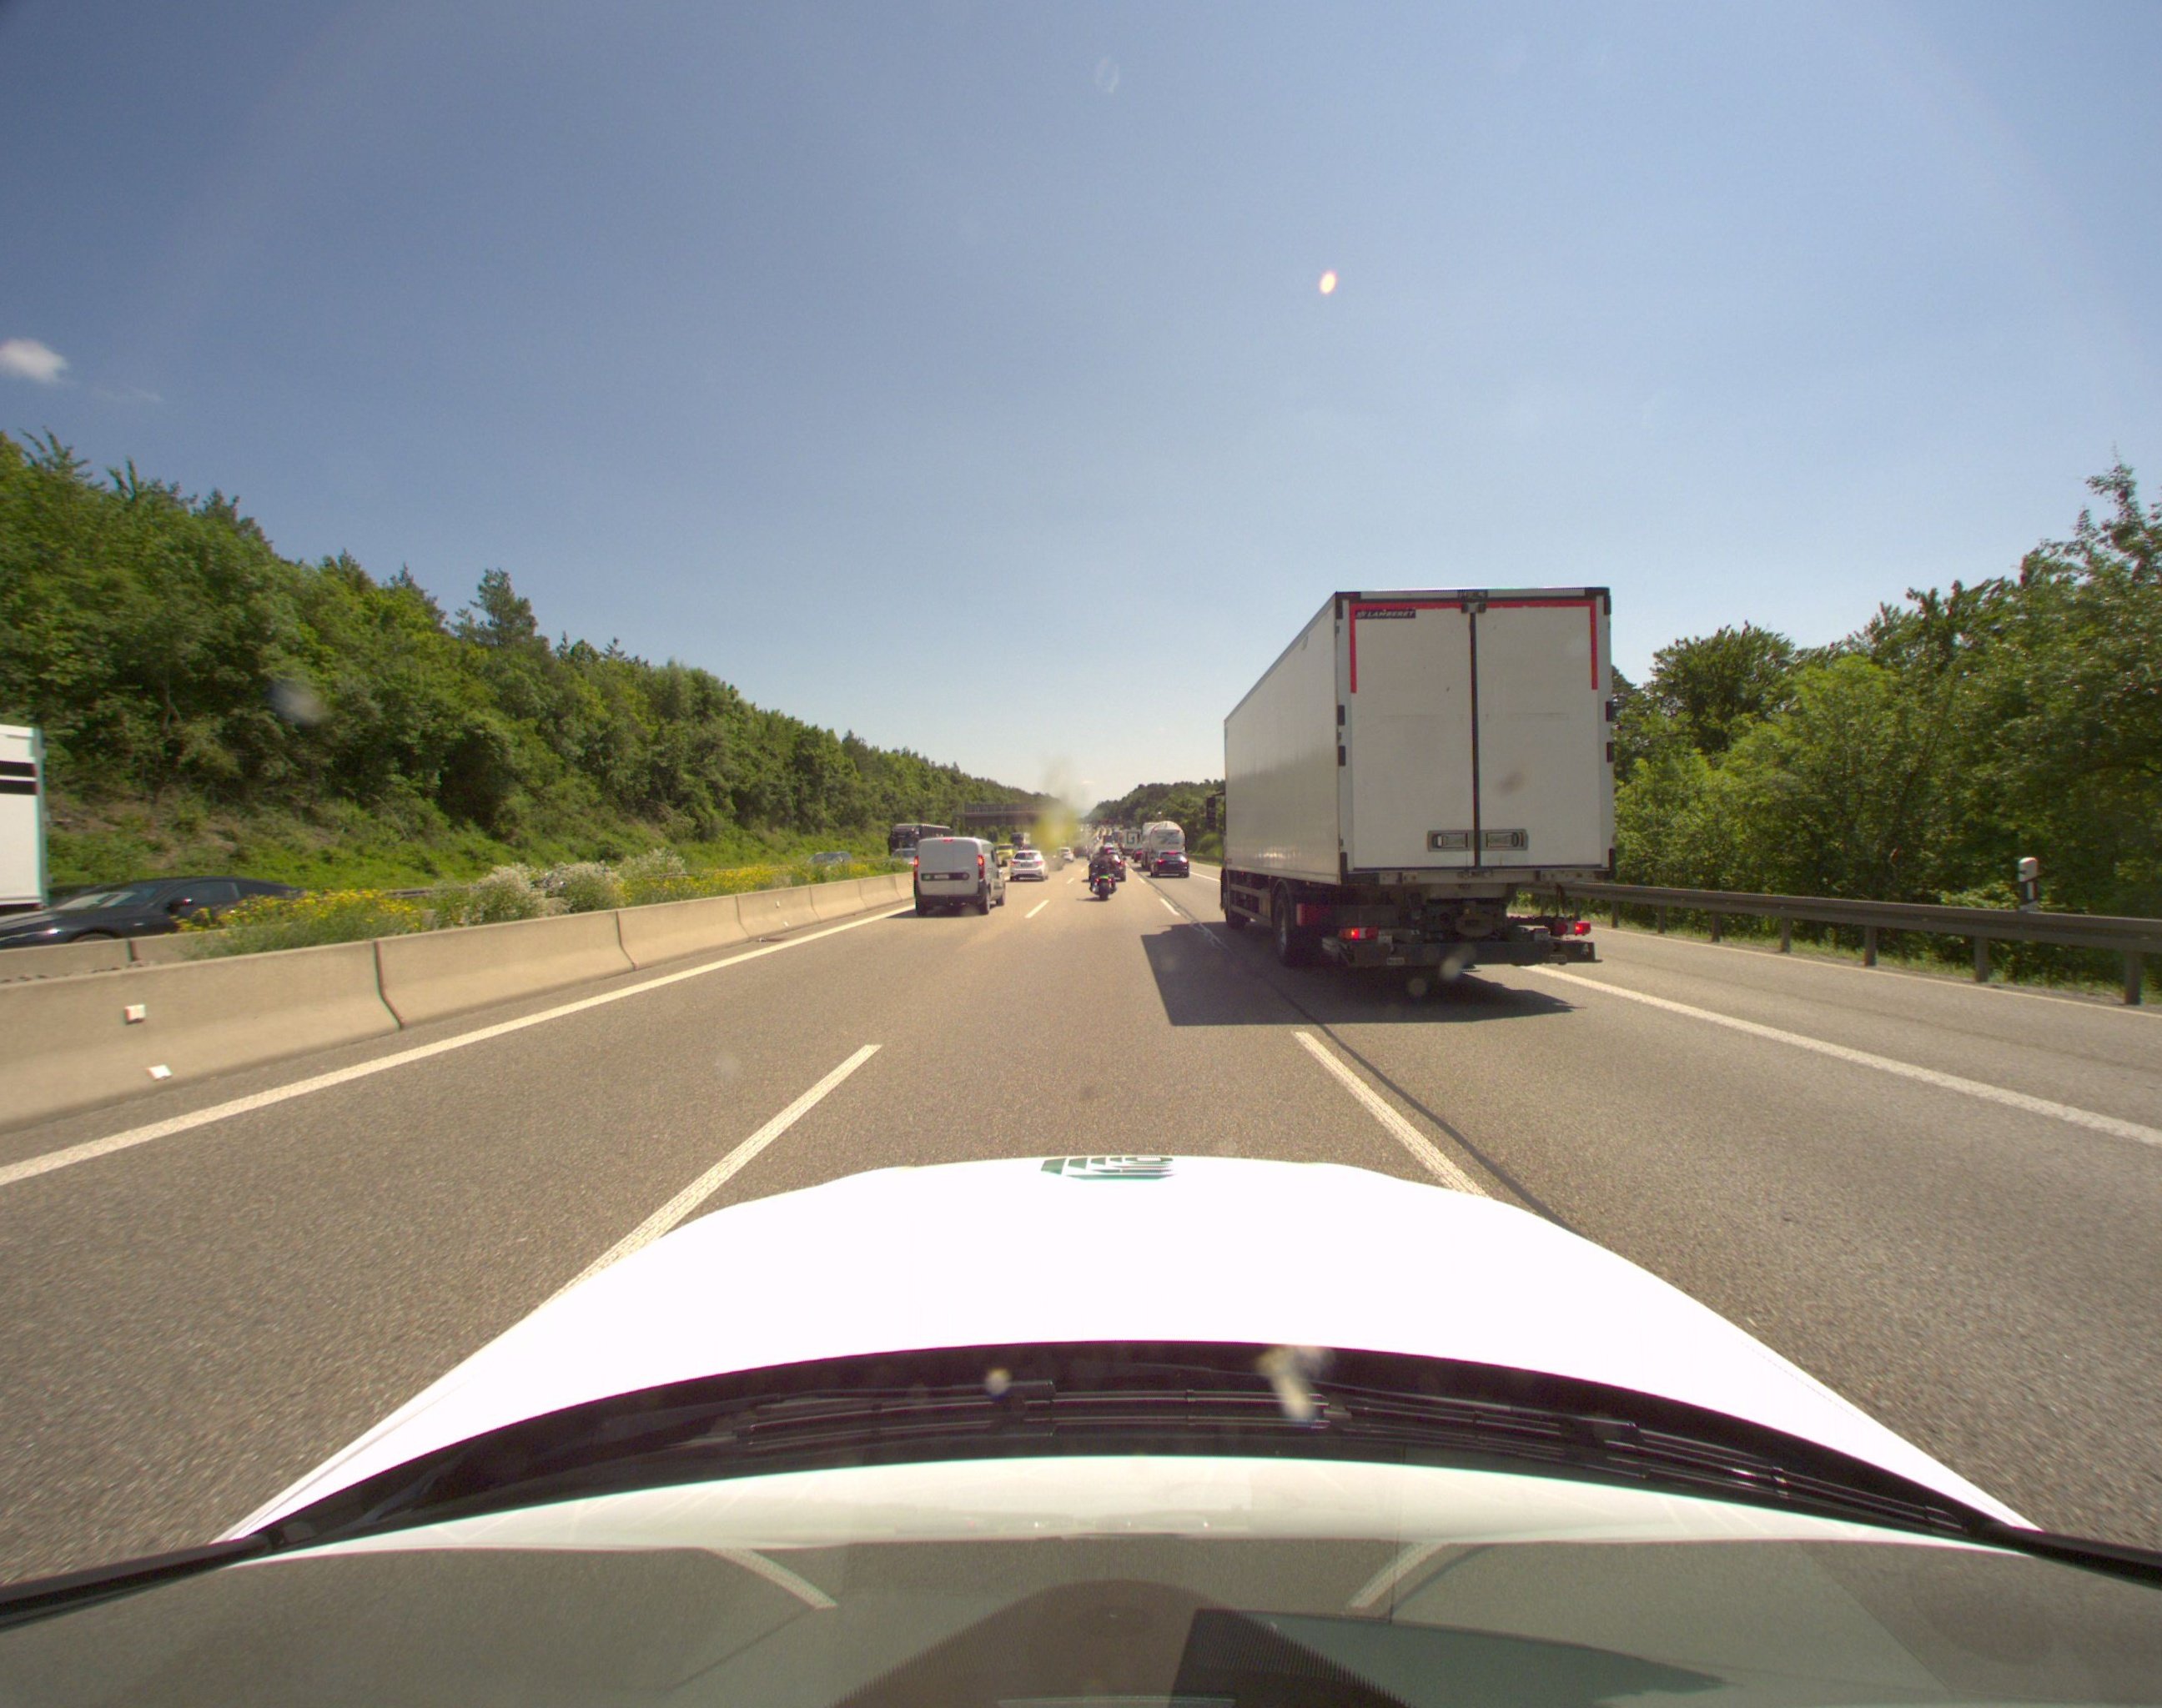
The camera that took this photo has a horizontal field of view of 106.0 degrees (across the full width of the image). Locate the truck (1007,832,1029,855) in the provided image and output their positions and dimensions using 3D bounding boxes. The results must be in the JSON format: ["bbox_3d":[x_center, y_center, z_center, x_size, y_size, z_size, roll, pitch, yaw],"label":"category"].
[{"bbox_3d":[-12.999,-2.147,169.121,3.711,4.528,7.328,-3,-1,1],"label":"truck"}]

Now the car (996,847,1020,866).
[{"bbox_3d":[-8.114,0.278,90.782,1.872,2.013,4.471,-4,-1,2],"label":"car"}]

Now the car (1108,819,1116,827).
[{"bbox_3d":[8.757,-8.739,229.141,1.986,2.013,4.002,-3,-1,2],"label":"car"}]

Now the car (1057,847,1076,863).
[{"bbox_3d":[-1.396,0.088,81.636,1.693,1.478,4.002,-1,0,2],"label":"car"}]

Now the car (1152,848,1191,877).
[{"bbox_3d":[4.841,0.425,44.179,1.822,1.470,4.002,0,0,2],"label":"car"}]

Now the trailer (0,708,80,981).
[{"bbox_3d":[-18.703,-0.155,6.882,2.793,4.338,14.040,-2,-1,1],"label":"trailer"}]

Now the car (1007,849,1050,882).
[{"bbox_3d":[-2.530,0.533,40.177,1.693,1.478,4.002,-1,0,2],"label":"car"}]

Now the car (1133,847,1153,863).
[{"bbox_3d":[6.266,0.130,82.720,1.780,1.555,3.805,-1,0,2],"label":"car"}]

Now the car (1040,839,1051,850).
[{"bbox_3d":[-8.215,-2.161,189.959,1.986,2.377,7.368,-1,0,2],"label":"car"}]

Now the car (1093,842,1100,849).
[{"bbox_3d":[4.694,-2.484,239.679,1.986,2.013,4.002,-1,0,2],"label":"car"}]

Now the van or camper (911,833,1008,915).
[{"bbox_3d":[-3.024,0.481,21.104,1.789,1.892,4.160,-1,0,1],"label":"van or camper"}]

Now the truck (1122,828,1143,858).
[{"bbox_3d":[8.006,-1.720,127.422,3.022,4.542,9.987,0,0,2],"label":"truck"}]

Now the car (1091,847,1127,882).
[{"bbox_3d":[1.326,0.493,39.231,1.527,1.510,4.001,-3,0,1],"label":"car"}]

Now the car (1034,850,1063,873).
[{"bbox_3d":[-2.243,0.514,57.154,1.693,1.478,4.002,-1,0,2],"label":"car"}]

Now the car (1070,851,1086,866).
[{"bbox_3d":[-0.412,0.672,117.941,1.986,2.013,4.002,-3,-1,2],"label":"car"}]

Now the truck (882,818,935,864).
[{"bbox_3d":[-16.129,-1.144,76.619,2.895,3.974,7.772,-3,-1,2],"label":"truck"}]

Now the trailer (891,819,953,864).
[{"bbox_3d":[-15.915,-1.106,82.773,2.895,3.974,13.894,-3,-1,2],"label":"trailer"}]

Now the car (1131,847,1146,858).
[{"bbox_3d":[7.394,-0.189,104.429,1.780,1.374,3.805,-1,0,2],"label":"car"}]

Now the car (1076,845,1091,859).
[{"bbox_3d":[0.353,-0.304,107.330,1.873,1.859,4.002,-1,0,2],"label":"car"}]

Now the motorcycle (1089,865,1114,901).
[{"bbox_3d":[0.649,0.853,24.852,0.688,1.015,2.123,-1,0,3],"label":"motorcycle"}]

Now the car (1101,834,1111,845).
[{"bbox_3d":[6.258,-3.657,202.809,2.495,2.587,5.019,-1,0,2],"label":"car"}]

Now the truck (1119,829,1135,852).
[{"bbox_3d":[9.230,-2.685,164.662,3.022,4.542,9.987,0,0,2],"label":"truck"}]

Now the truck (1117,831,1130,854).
[{"bbox_3d":[10.146,-2.730,194.763,3.022,5.139,9.987,0,0,2],"label":"truck"}]

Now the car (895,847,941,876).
[{"bbox_3d":[-8.926,0.382,44.844,1.557,1.519,4.002,-2,0,2],"label":"car"}]

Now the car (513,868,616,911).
[{"bbox_3d":[-21.341,1.419,33.842,1.557,1.519,4.002,-2,0,2],"label":"car"}]

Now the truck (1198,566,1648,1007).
[{"bbox_3d":[3.841,-0.623,12.368,2.679,3.876,9.782,-4,0,1],"label":"truck"}]

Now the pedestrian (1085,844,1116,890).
[{"bbox_3d":[0.605,0.395,25.076,0.846,1.361,0.962,-3,0,3],"label":"pedestrian"}]

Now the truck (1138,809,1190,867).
[{"bbox_3d":[5.831,-1.016,58.779,2.976,3.671,9.292,-3,-1,2],"label":"truck"}]

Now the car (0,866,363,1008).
[{"bbox_3d":[-14.356,1.136,12.797,1.778,1.776,4.733,-3,-1,2],"label":"car"}]

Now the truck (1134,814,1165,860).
[{"bbox_3d":[5.689,-1.346,67.790,1.987,3.522,4.750,-3,-1,0],"label":"truck"}]

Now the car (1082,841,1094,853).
[{"bbox_3d":[1.221,-1.268,147.660,1.922,2.013,4.002,-3,-1,2],"label":"car"}]
